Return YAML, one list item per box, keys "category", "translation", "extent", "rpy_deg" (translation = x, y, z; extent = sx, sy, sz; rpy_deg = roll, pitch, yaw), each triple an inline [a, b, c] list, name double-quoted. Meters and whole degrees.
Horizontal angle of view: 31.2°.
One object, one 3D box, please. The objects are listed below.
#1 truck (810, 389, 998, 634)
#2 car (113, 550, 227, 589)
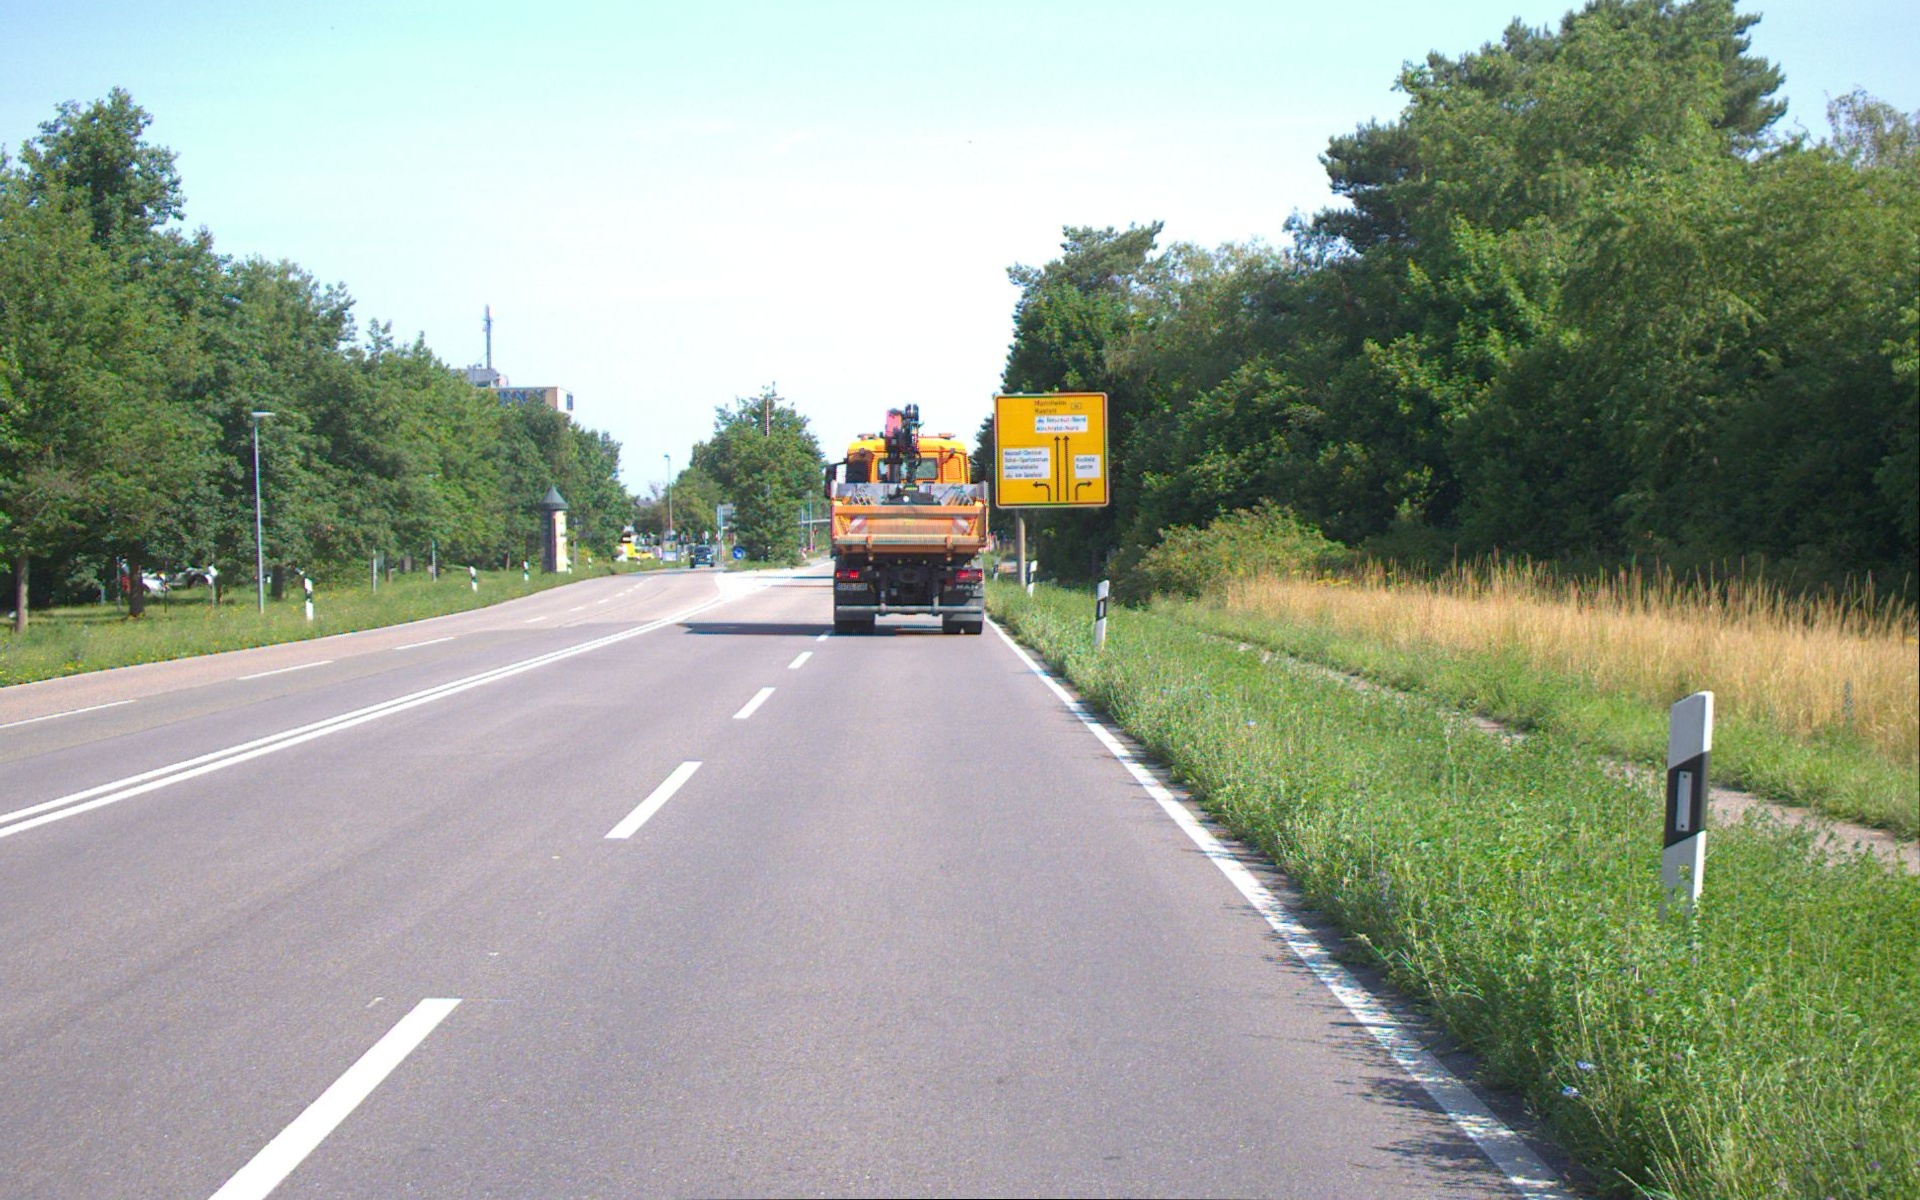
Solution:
- category: "truck"
  translation: [-1.053, -1.483, 58.667]
  extent: [2.871, 3.867, 7.401]
  rpy_deg: [1, 1, -3]
- category: "car"
  translation: [-34.925, -1.353, 152.037]
  extent: [4.594, 1.644, 2.000]
  rpy_deg: [-1, 1, -1]
